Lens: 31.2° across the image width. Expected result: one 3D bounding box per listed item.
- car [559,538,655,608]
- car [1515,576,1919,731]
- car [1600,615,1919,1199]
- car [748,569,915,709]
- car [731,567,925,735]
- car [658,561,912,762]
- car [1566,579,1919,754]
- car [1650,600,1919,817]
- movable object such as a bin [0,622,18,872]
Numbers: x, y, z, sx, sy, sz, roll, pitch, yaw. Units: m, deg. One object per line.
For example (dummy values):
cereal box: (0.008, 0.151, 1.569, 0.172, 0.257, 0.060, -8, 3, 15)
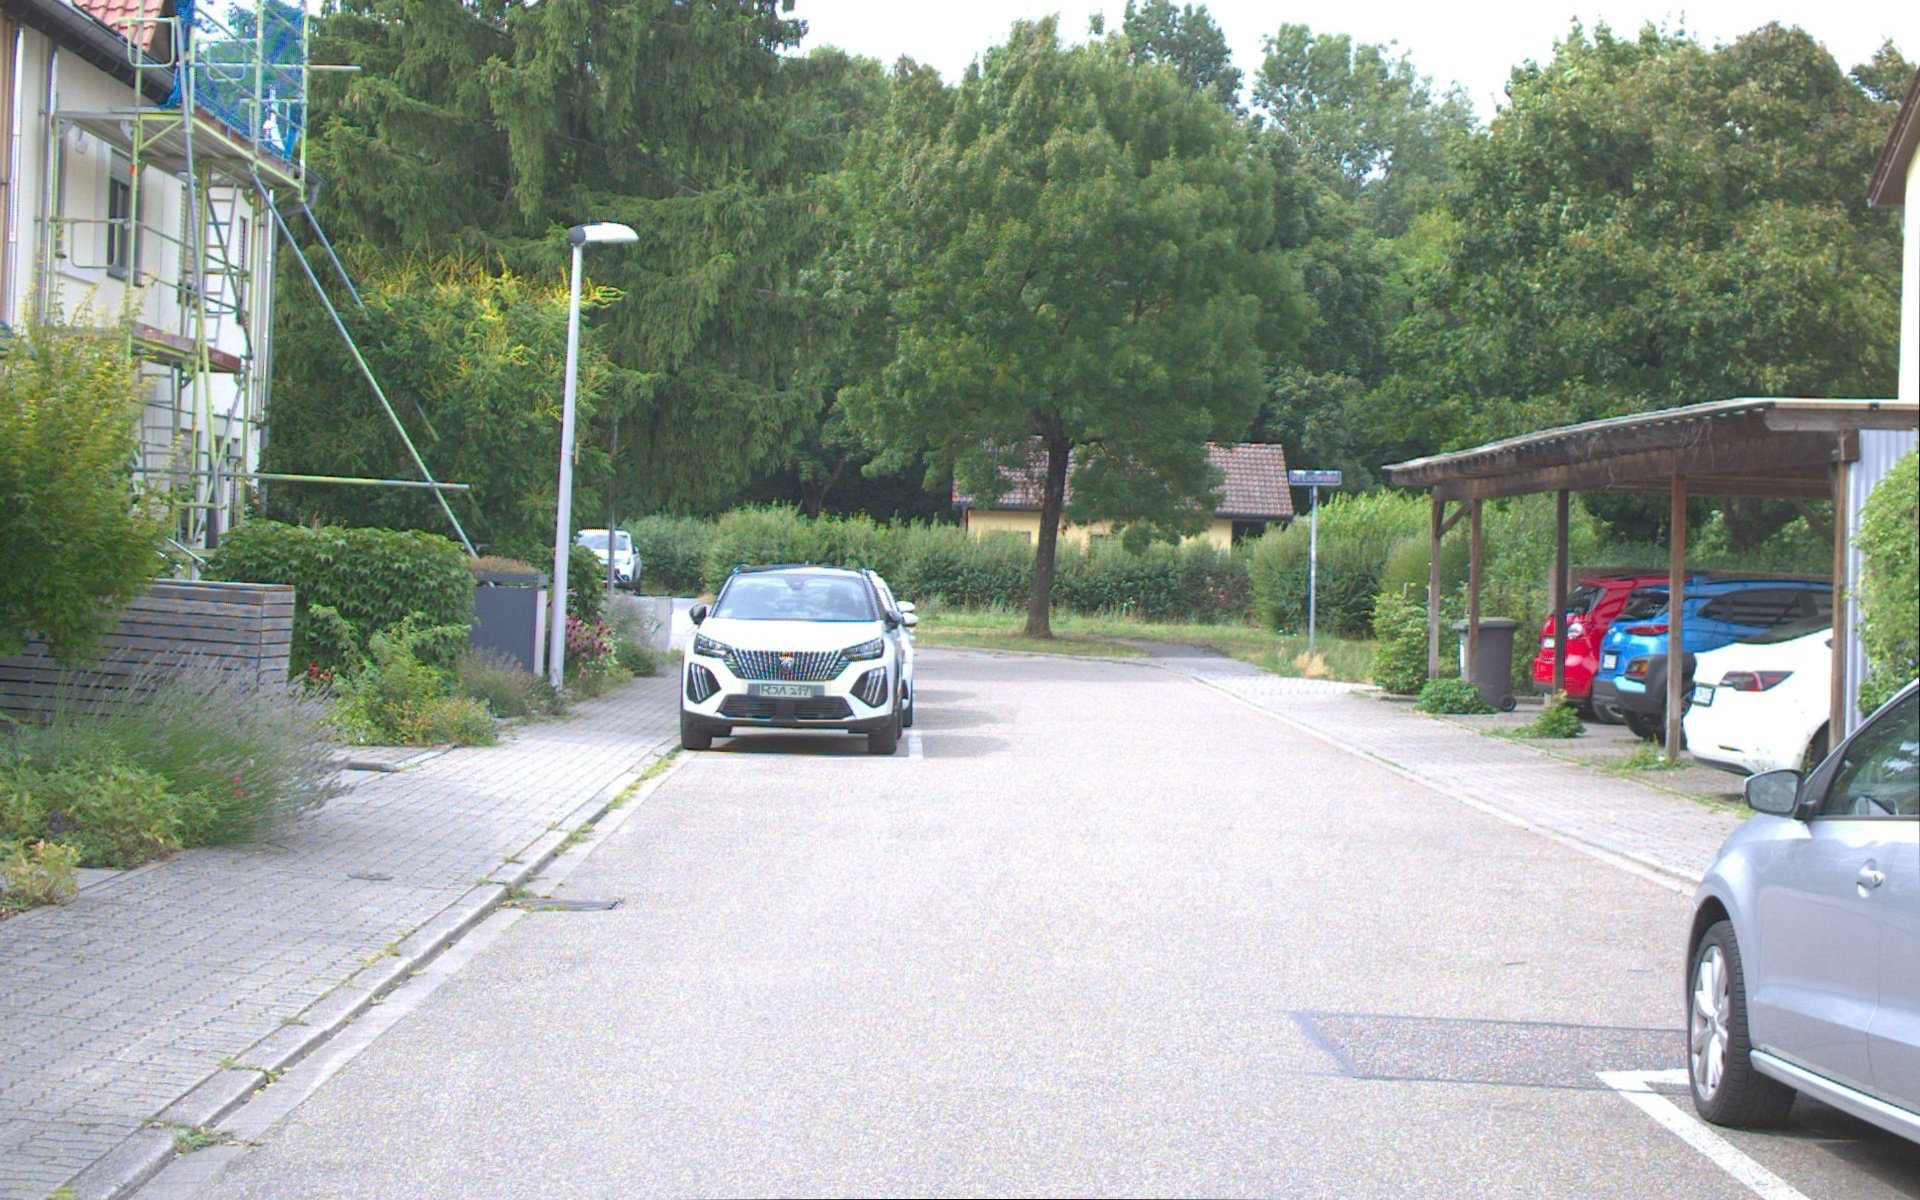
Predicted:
car: (-8.825, -0.692, 86.277, 1.937, 1.654, 4.341, 2, 1, 0)
car: (8.134, 0.556, 36.952, 3.956, 1.535, 1.839, 1, 1, -3)
car: (3.080, 0.814, 8.751, 1.864, 1.412, 4.253, 2, 1, -3)
car: (-1.465, 0.416, 40.495, 1.791, 1.526, 4.140, 1, 1, 0)
car: (-1.291, 0.461, 35.036, 1.810, 1.557, 4.848, 1, 1, -1)
car: (-1.422, 0.466, 29.636, 1.934, 1.551, 4.634, 1, 1, 0)
car: (7.891, 0.609, 32.030, 4.045, 1.517, 1.951, 1, 1, -3)
car: (7.384, 0.770, 24.488, 4.449, 1.428, 2.027, 1, 1, -2)
movable object such as a bin: (-5.501, 0.766, 17.840, 0.949, 1.307, 1.001, 1, 0, -1)
